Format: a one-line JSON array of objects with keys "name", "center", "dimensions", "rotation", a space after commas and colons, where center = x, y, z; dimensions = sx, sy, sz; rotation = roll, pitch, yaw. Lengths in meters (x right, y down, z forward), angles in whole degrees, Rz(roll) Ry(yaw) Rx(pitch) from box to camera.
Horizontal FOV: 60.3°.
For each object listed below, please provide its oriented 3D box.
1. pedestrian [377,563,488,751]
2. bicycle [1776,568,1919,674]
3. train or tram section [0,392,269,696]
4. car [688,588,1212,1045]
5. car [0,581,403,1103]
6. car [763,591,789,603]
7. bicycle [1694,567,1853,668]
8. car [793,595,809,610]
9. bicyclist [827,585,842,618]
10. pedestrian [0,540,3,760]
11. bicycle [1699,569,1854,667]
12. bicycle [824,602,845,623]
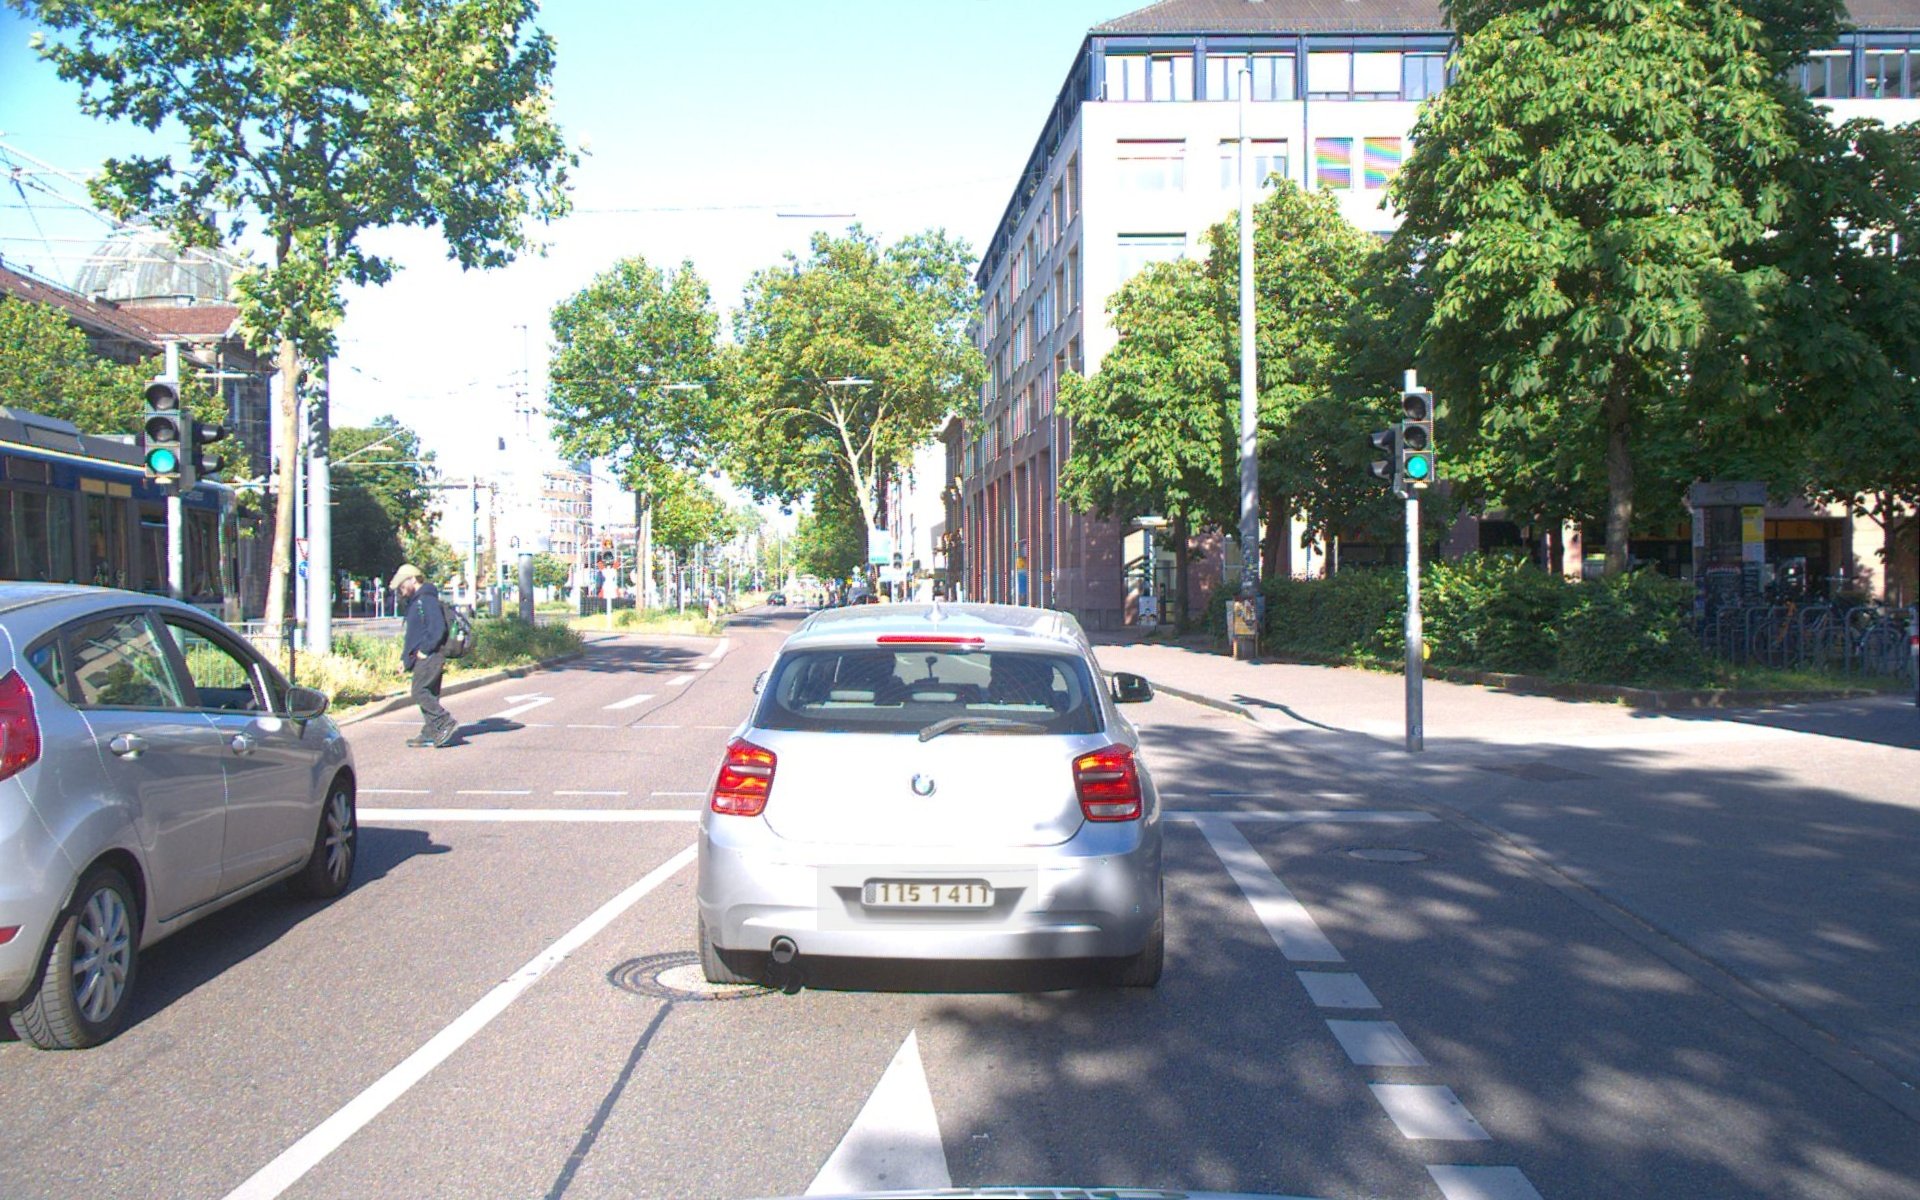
[{"name": "pedestrian", "center": [-4.784, 0.505, 15.010], "dimensions": [0.926, 1.657, 0.625], "rotation": [0, 0, -19]}, {"name": "bicycle", "center": [12.115, 0.270, 22.260], "dimensions": [1.956, 1.337, 0.574], "rotation": [-2, 0, -2]}, {"name": "train or tram section", "center": [-12.117, -0.610, 20.233], "dimensions": [2.858, 3.317, 13.098], "rotation": [1, -1, -5]}, {"name": "car", "center": [0.042, 0.691, 7.325], "dimensions": [1.694, 1.414, 3.841], "rotation": [1, 1, 2]}, {"name": "car", "center": [-3.478, 0.659, 6.307], "dimensions": [1.627, 1.434, 3.630], "rotation": [1, 0, -3]}, {"name": "car", "center": [-23.385, -0.385, 210.370], "dimensions": [1.970, 1.512, 3.964], "rotation": [-1, 0, -28]}, {"name": "bicycle", "center": [11.565, 0.242, 23.538], "dimensions": [1.956, 1.337, 0.574], "rotation": [-2, 0, -2]}, {"name": "car", "center": [-23.618, 0.352, 245.811], "dimensions": [1.953, 2.049, 3.999], "rotation": [1, -1, 0]}, {"name": "bicyclist", "center": [-6.523, 0.059, 86.255], "dimensions": [0.644, 1.686, 0.765], "rotation": [-1, 0, 4]}, {"name": "pedestrian", "center": [-7.174, 0.367, 11.565], "dimensions": [0.619, 1.584, 0.645], "rotation": [-1, 0, -9]}, {"name": "bicycle", "center": [11.921, 0.260, 24.167], "dimensions": [1.956, 1.337, 0.574], "rotation": [-2, 0, -2]}, {"name": "bicycle", "center": [-6.522, 0.657, 86.235], "dimensions": [0.814, 1.059, 1.875], "rotation": [-1, 0, 4]}]
